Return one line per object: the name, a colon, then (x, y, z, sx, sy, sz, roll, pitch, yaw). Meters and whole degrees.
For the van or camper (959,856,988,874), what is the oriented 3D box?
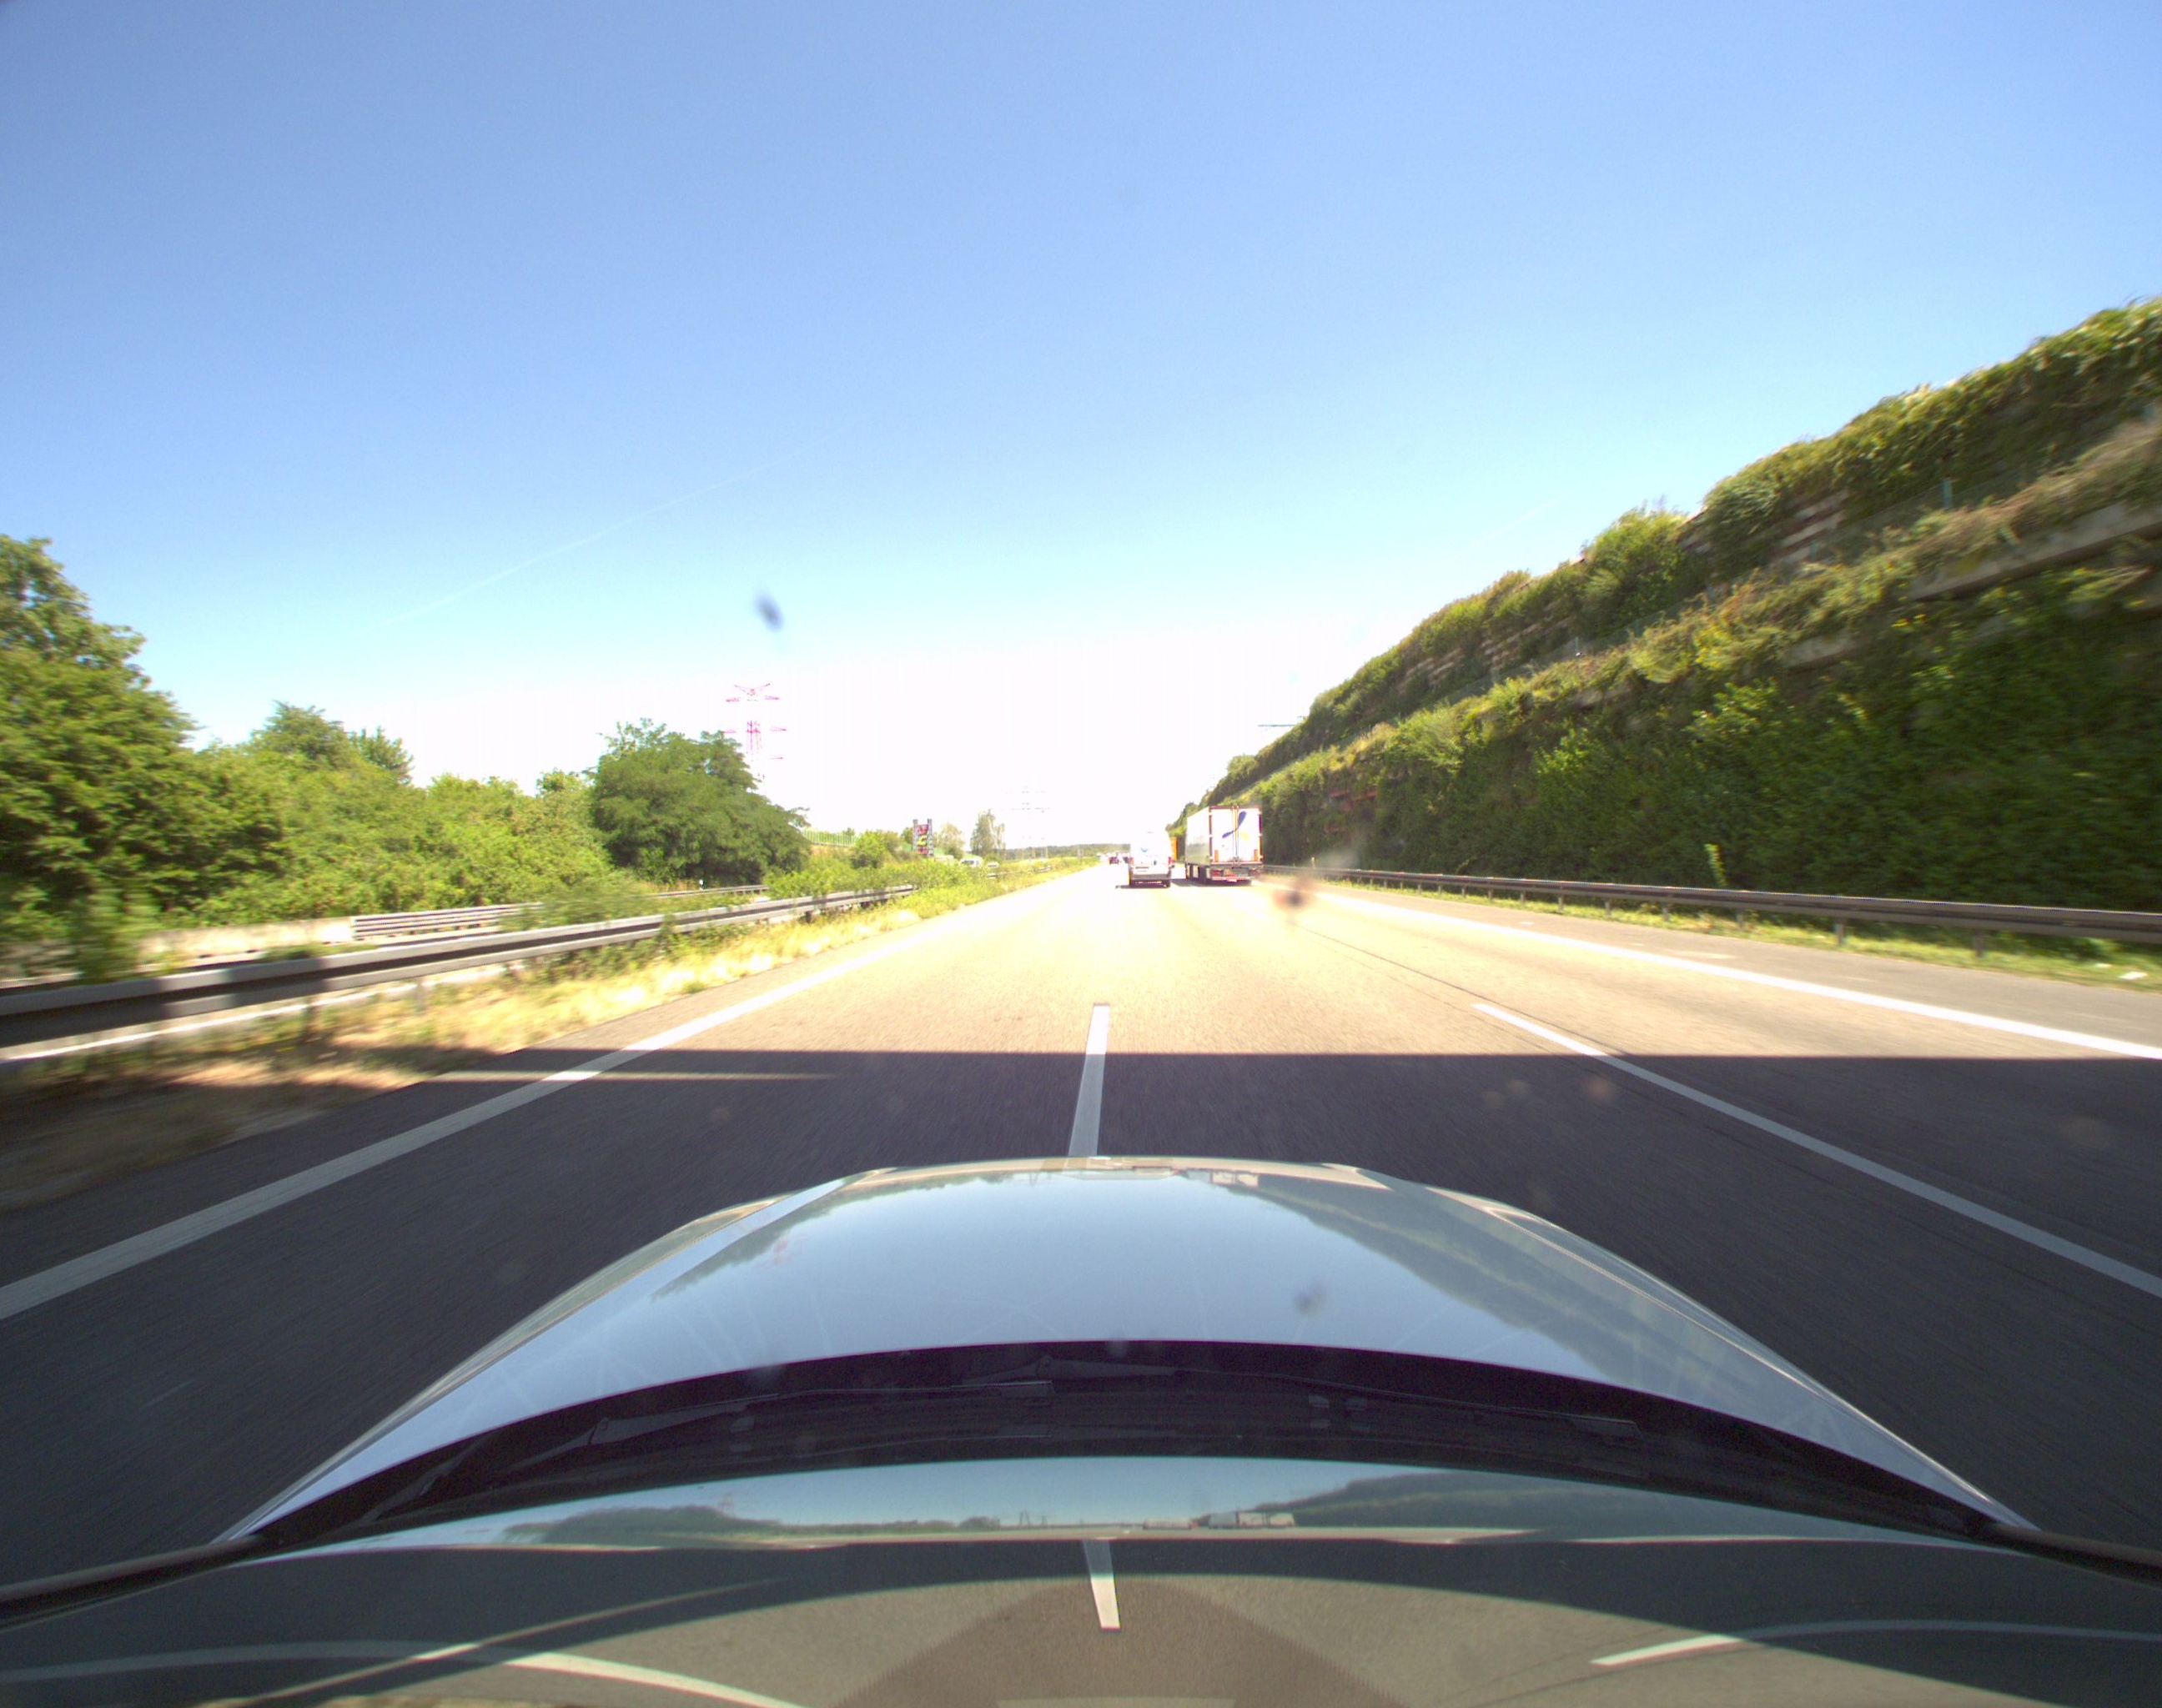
van or camper: (-11.123, 1.140, 84.814, 1.957, 1.766, 5.218, 0, 0, 4)

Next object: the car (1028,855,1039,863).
car: (-11.262, 1.169, 193.283, 1.960, 2.008, 4.405, 0, 0, 2)

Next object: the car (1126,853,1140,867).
car: (6.914, 0.827, 108.902, 1.788, 1.817, 3.802, 0, 0, 2)

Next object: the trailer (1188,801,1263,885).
trailer: (7.829, -0.529, 45.695, 2.626, 4.060, 12.375, 0, 0, 3)

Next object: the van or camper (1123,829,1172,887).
van or camper: (3.306, 0.197, 41.387, 2.221, 2.782, 5.425, 0, 0, 2)

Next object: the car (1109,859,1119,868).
car: (6.703, 1.977, 165.720, 1.973, 1.817, 3.817, 0, 0, 4)

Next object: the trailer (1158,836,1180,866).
trailer: (11.767, -0.408, 109.524, 2.626, 3.897, 7.074, 0, 0, 3)

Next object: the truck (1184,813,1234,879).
truck: (8.205, -0.482, 52.759, 2.626, 4.060, 5.804, 0, 0, 3)

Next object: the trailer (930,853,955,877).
trailer: (-15.349, 1.212, 90.382, 1.792, 2.618, 4.413, 0, 0, 4)
